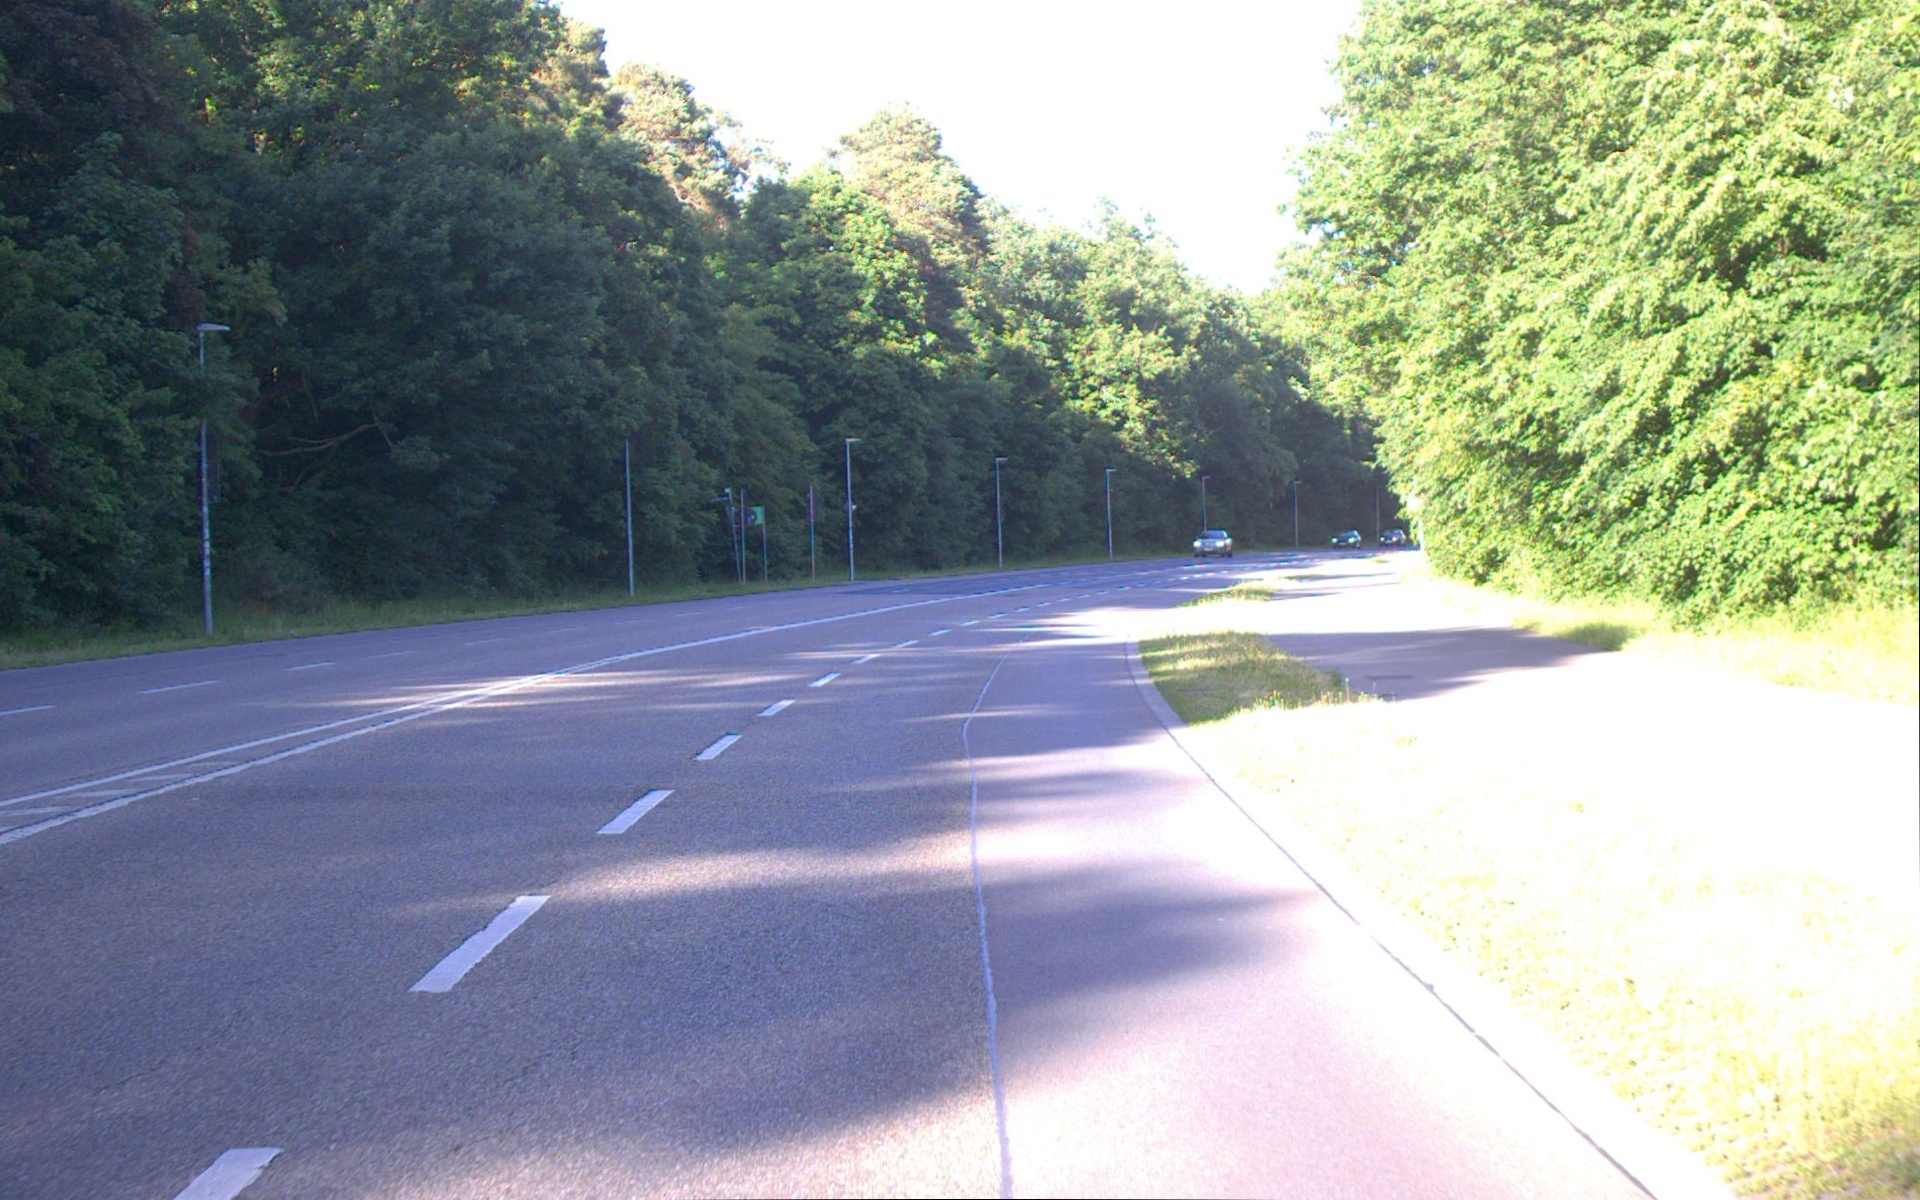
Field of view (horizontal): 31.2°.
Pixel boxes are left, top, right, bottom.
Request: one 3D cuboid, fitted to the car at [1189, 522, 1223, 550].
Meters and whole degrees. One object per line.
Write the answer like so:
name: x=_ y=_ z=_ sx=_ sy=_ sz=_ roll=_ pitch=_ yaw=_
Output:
car: x=14.696 y=-3.828 z=205.506 sx=1.994 sy=1.579 sz=4.000 roll=0 pitch=0 yaw=3
